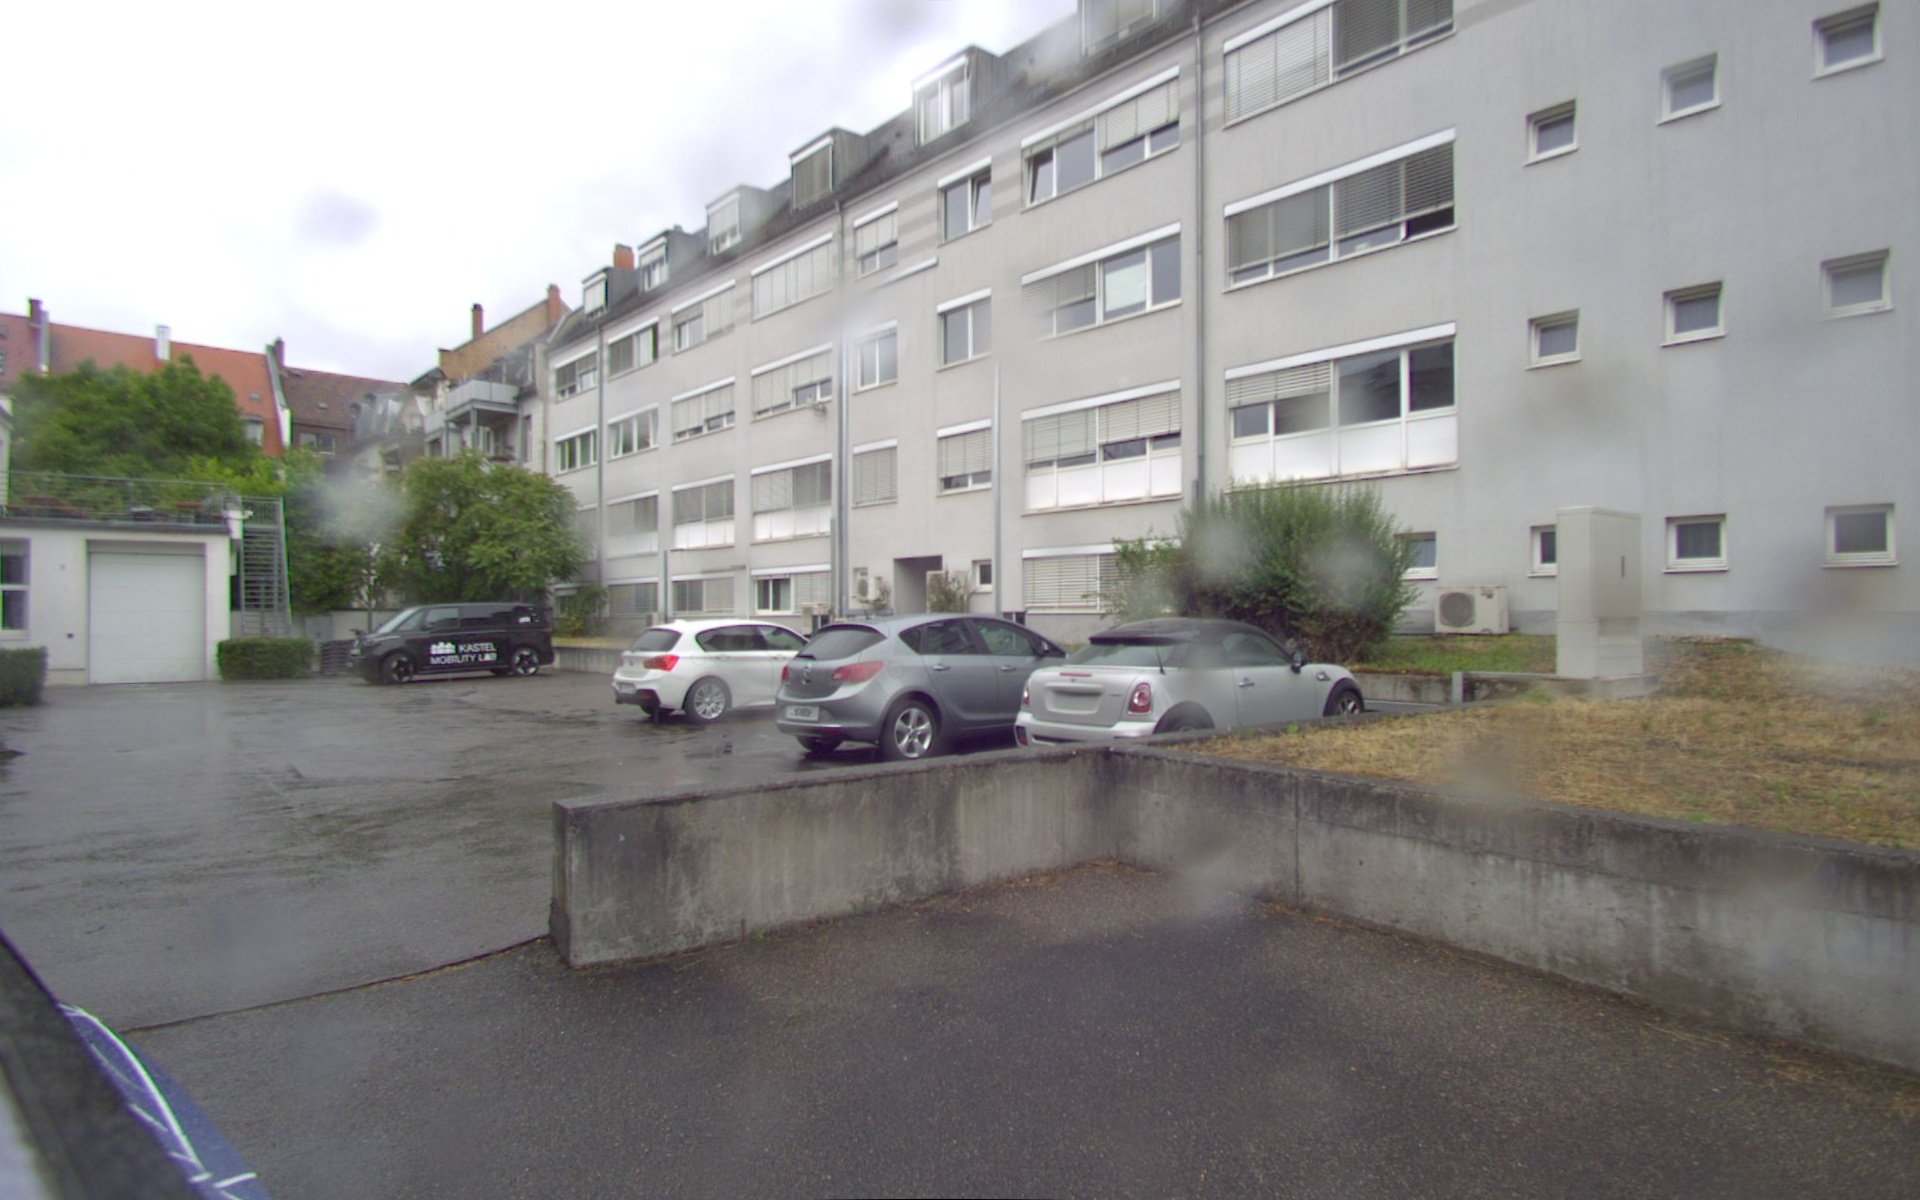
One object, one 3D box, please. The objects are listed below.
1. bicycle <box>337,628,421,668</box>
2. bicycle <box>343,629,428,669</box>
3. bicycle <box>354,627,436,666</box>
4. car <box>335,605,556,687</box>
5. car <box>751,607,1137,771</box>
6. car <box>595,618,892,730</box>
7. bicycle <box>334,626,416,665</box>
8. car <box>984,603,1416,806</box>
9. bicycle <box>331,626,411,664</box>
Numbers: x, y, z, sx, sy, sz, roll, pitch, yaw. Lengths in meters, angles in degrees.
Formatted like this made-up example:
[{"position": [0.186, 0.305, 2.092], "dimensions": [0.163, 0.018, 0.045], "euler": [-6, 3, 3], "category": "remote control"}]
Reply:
[{"position": [-18.687, 1.518, 32.582], "dimensions": [2.283, 1.195, 0.645], "euler": [0, 1, -37], "category": "bicycle"}, {"position": [-18.144, 1.534, 31.989], "dimensions": [2.283, 1.195, 0.645], "euler": [0, 1, -37], "category": "bicycle"}, {"position": [-18.652, 1.507, 33.443], "dimensions": [2.283, 1.195, 0.645], "euler": [0, 1, -37], "category": "bicycle"}, {"position": [-12.767, 1.093, 25.295], "dimensions": [4.563, 1.851, 1.989], "euler": [0, -3, -44], "category": "car"}, {"position": [-0.054, 0.859, 11.290], "dimensions": [4.114, 1.495, 1.824], "euler": [1, -2, -42], "category": "car"}, {"position": [-3.178, 1.011, 15.338], "dimensions": [4.089, 1.444, 1.755], "euler": [1, -1, -42], "category": "car"}, {"position": [-19.360, 1.496, 33.541], "dimensions": [2.283, 1.195, 0.645], "euler": [0, 1, -37], "category": "bicycle"}, {"position": [2.387, 0.805, 9.487], "dimensions": [4.114, 1.343, 1.825], "euler": [-3, 0, -41], "category": "car"}, {"position": [-19.779, 1.483, 34.019], "dimensions": [2.283, 1.195, 0.645], "euler": [0, 1, -37], "category": "bicycle"}]
